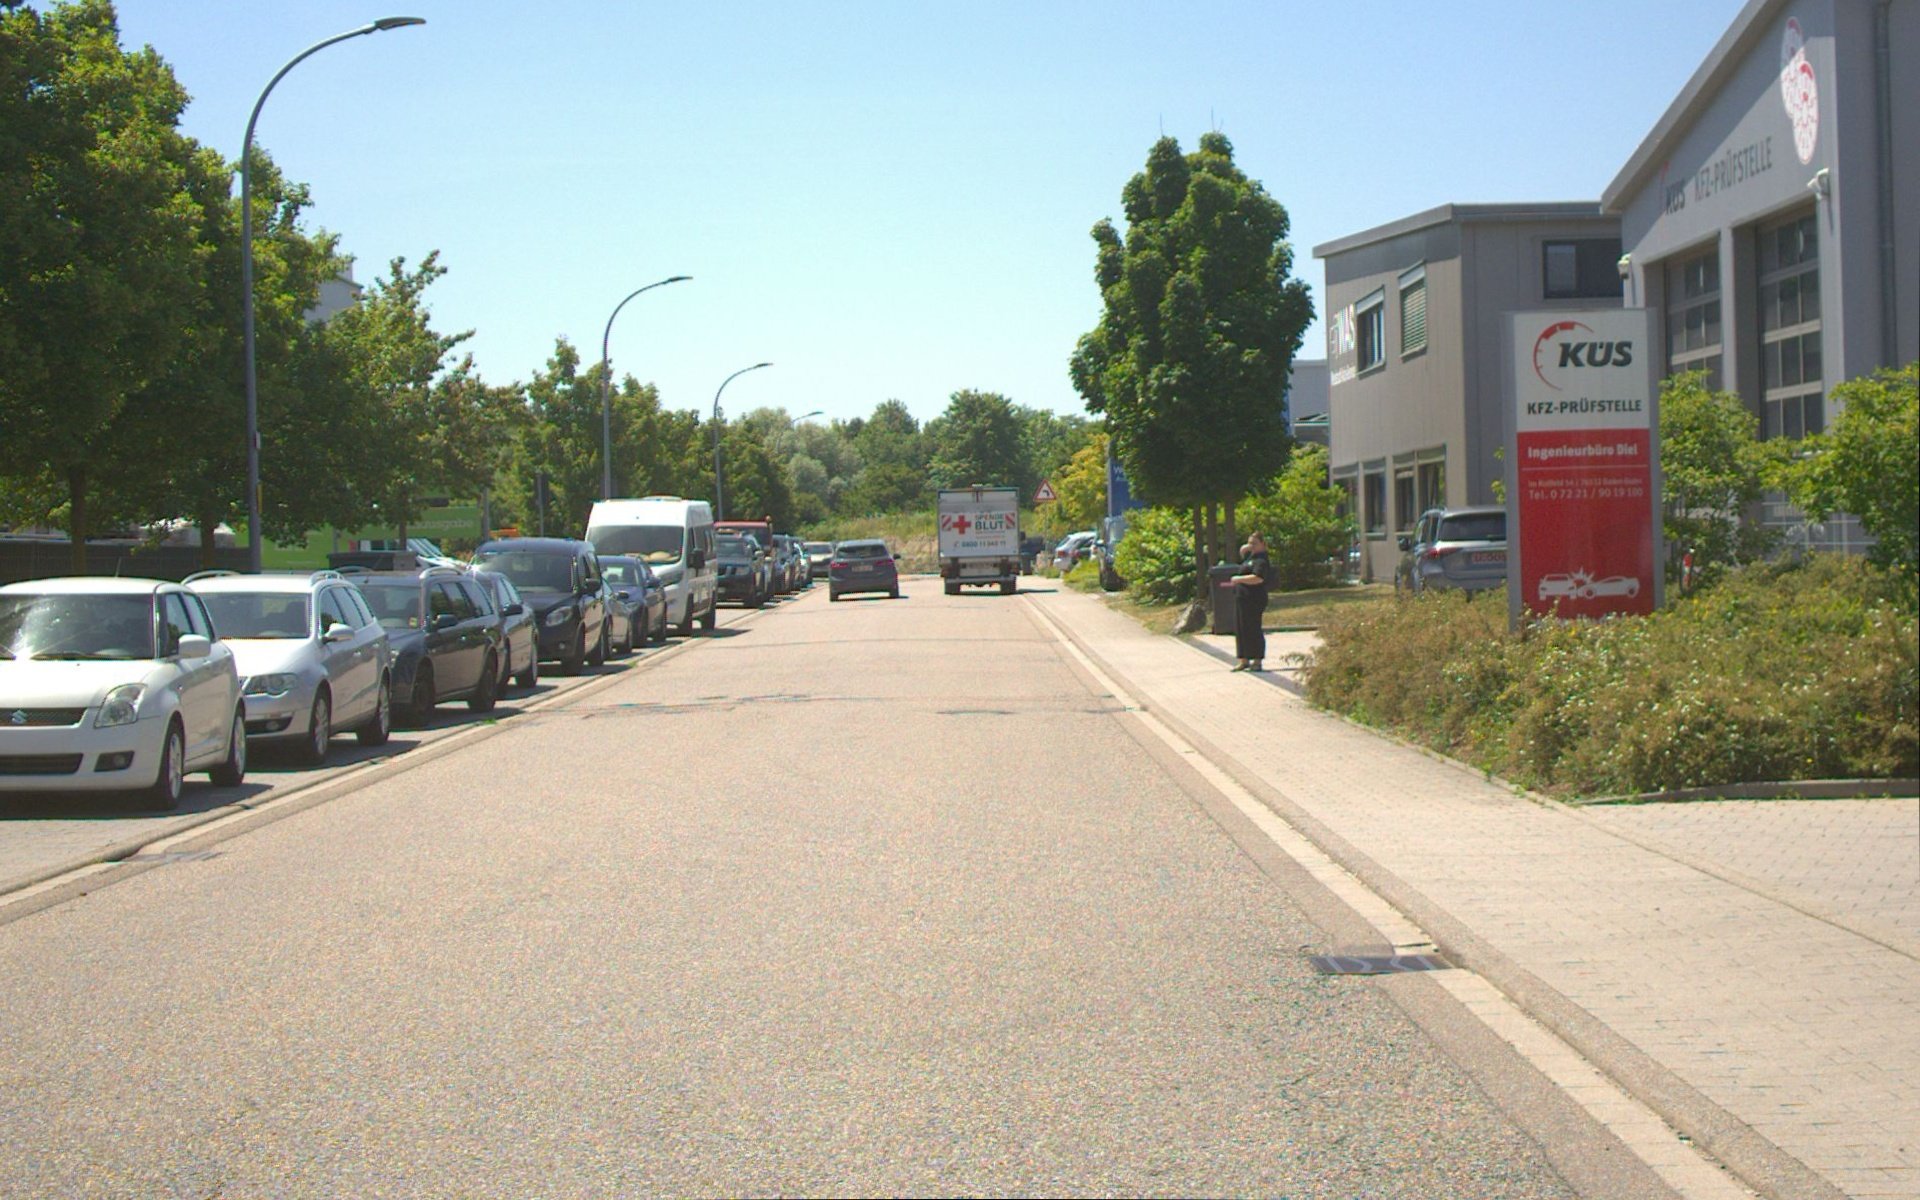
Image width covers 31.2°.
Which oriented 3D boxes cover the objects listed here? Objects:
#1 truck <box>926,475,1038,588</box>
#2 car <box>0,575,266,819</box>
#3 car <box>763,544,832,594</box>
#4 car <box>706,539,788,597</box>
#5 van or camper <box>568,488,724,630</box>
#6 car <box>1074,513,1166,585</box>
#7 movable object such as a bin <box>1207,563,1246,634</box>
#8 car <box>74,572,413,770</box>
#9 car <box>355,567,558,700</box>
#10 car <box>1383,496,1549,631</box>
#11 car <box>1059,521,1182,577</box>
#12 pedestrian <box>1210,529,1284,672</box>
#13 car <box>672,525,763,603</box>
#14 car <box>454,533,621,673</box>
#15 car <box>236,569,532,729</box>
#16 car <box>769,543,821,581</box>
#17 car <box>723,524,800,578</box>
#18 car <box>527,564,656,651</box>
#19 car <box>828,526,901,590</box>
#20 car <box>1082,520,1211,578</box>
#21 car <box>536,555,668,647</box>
[{"bbox_3d":[0.611,-1.875,95.415,2.933,2.963,6.419,1,1,0],"label":"truck"},{"bbox_3d":[-5.854,0.587,23.142,1.720,1.471,3.858,0,1,-2],"label":"car"},{"bbox_3d":[-5.034,-0.984,106.992,1.799,1.482,4.252,0,1,2],"label":"car"},{"bbox_3d":[-5.664,-0.881,91.983,1.799,1.482,4.252,0,1,2],"label":"car"},{"bbox_3d":[-5.774,-0.771,63.923,2.079,2.474,6.130,1,1,2],"label":"van or camper"},{"bbox_3d":[4.147,-1.332,89.658,1.993,1.797,4.140,-1,1,-2],"label":"car"},{"bbox_3d":[4.050,-0.024,52.221,0.531,1.049,0.845,-1,1,2],"label":"movable object such as a bin"},{"bbox_3d":[-5.802,0.521,28.375,1.799,1.471,4.555,0,1,1],"label":"car"},{"bbox_3d":[-5.956,0.351,41.111,1.799,1.471,4.589,0,1,-1],"label":"car"},{"bbox_3d":[7.240,-0.504,49.554,1.785,1.777,4.905,-2,0,2],"label":"car"},{"bbox_3d":[5.279,-1.684,113.153,3.875,1.744,1.752,1,1,-2],"label":"car"},{"bbox_3d":[3.317,0.007,39.765,0.499,1.608,0.714,-5,1,-17],"label":"pedestrian"},{"bbox_3d":[-5.910,-0.905,84.045,1.799,1.842,4.252,0,1,2],"label":"car"},{"bbox_3d":[-5.699,0.011,46.790,1.799,1.808,4.252,0,1,-1],"label":"car"},{"bbox_3d":[-5.712,0.439,34.658,1.799,1.471,4.636,0,1,5],"label":"car"},{"bbox_3d":[-6.772,-1.562,141.461,1.799,1.482,4.252,0,1,2],"label":"car"},{"bbox_3d":[-5.577,-1.395,96.983,1.799,1.482,4.252,0,1,2],"label":"car"},{"bbox_3d":[-5.755,0.095,54.047,1.478,1.293,3.899,0,1,2],"label":"car"},{"bbox_3d":[-2.482,-1.094,90.342,1.789,1.618,3.809,1,1,0],"label":"car"},{"bbox_3d":[5.843,-1.610,108.226,3.875,1.744,1.752,1,1,-2],"label":"car"},{"bbox_3d":[-5.919,-0.011,57.266,1.799,1.444,4.252,0,1,-1],"label":"car"}]
